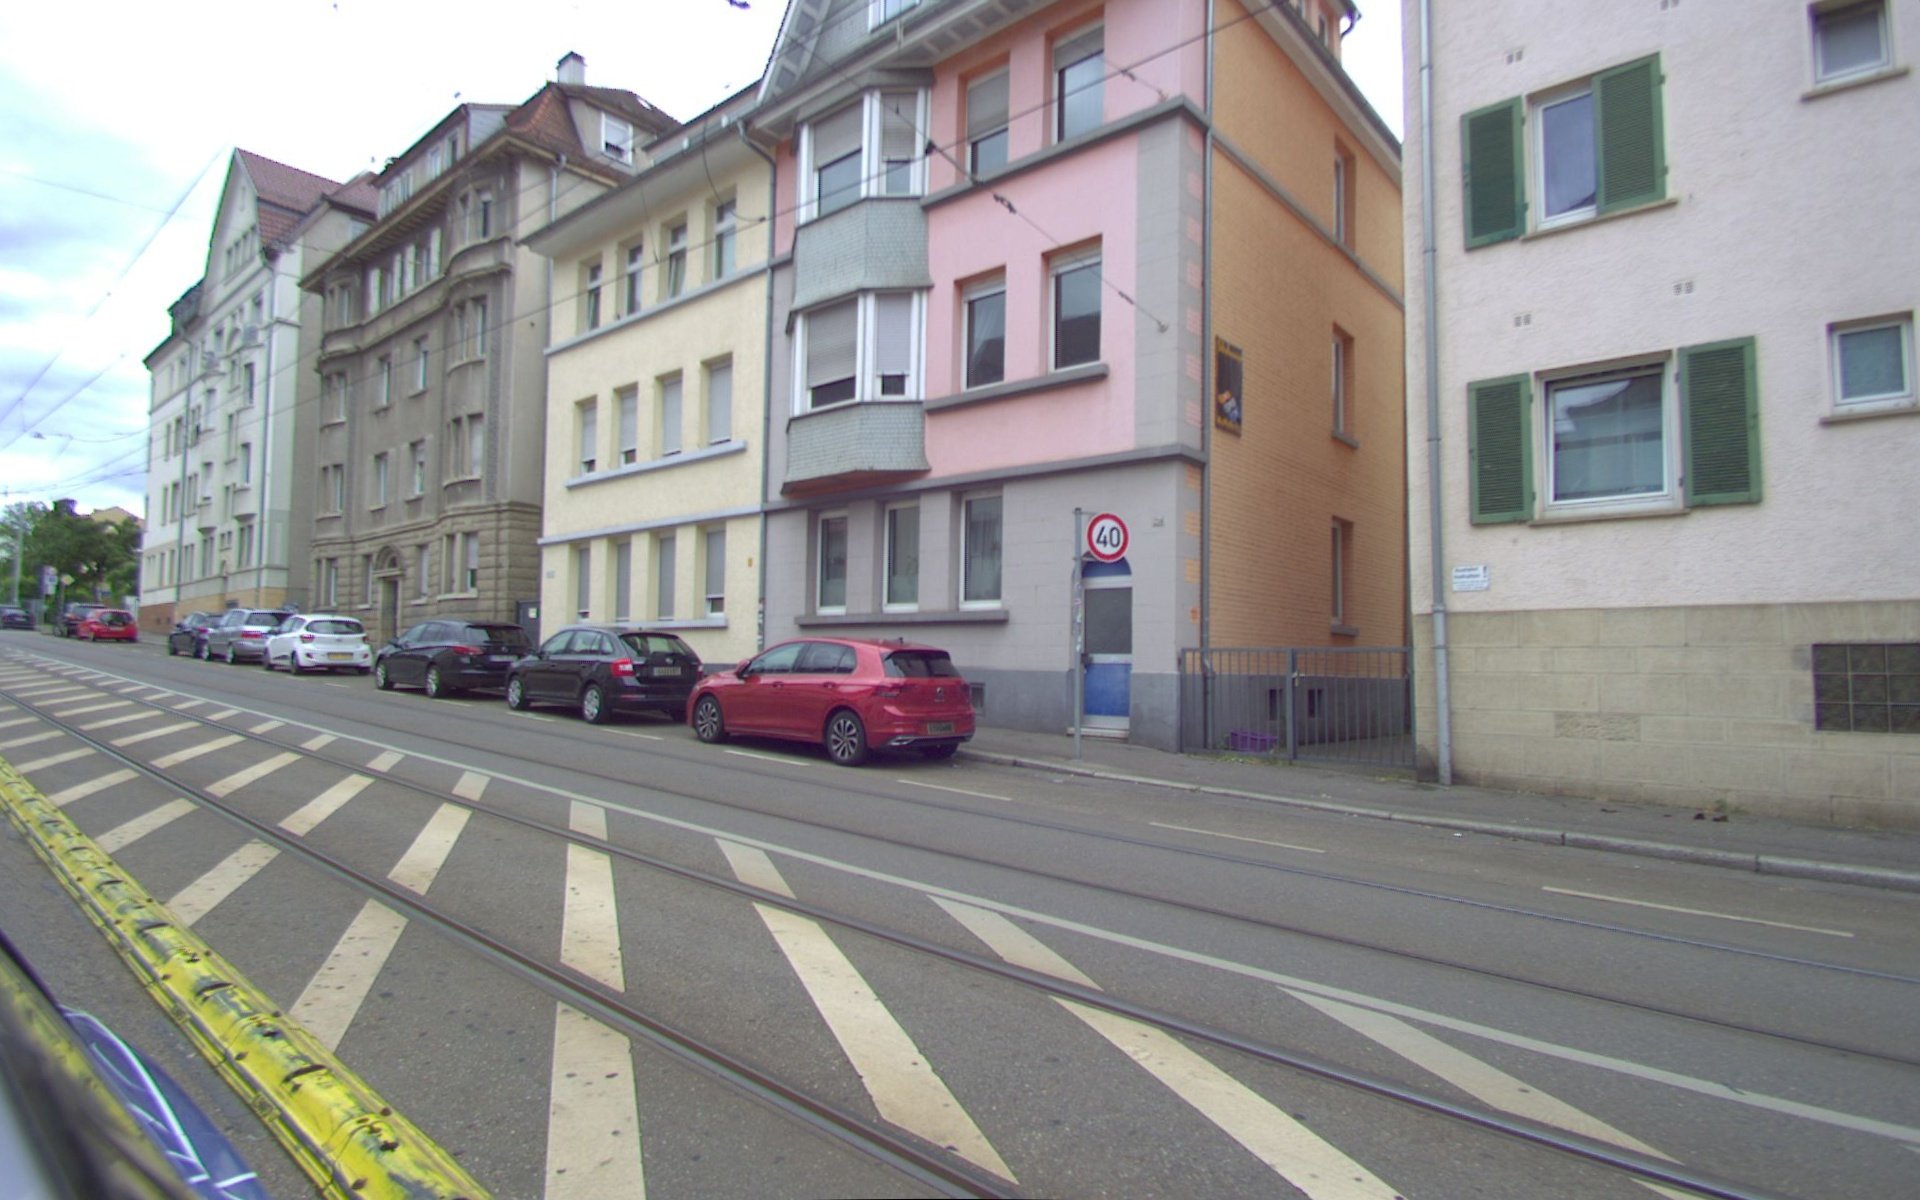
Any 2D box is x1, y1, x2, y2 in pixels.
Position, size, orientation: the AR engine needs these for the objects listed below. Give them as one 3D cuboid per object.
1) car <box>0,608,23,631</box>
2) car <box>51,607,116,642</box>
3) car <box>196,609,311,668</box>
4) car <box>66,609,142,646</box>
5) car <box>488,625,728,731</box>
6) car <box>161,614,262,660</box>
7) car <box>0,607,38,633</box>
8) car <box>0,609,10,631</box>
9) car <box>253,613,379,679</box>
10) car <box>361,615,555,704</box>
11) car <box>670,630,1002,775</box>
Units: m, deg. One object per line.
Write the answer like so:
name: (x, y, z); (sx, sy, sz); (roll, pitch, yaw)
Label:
car: (-66.165, 1.310, 69.864); (3.951, 1.537, 1.720); (0, -4, 42)
car: (-42.318, 1.162, 48.826); (3.949, 1.537, 1.721); (0, -4, 41)
car: (-20.721, 1.083, 29.622); (4.140, 1.579, 1.721); (0, -2, 41)
car: (-38.697, 1.224, 45.735); (3.946, 1.470, 1.722); (0, -4, 38)
car: (-5.777, 1.199, 16.373); (4.240, 1.421, 1.766); (0, -4, 42)
car: (-24.430, 1.185, 32.988); (4.042, 1.392, 1.721); (0, -2, 41)
car: (-61.484, 1.291, 65.801); (3.949, 1.537, 1.721); (0, -4, 41)
car: (-71.067, 1.409, 74.066); (3.949, 1.537, 1.721); (0, -4, 41)
car: (-16.576, 1.150, 25.992); (3.799, 1.522, 1.720); (0, -3, 42)
car: (-9.946, 1.132, 19.899); (4.525, 1.522, 1.766); (0, -4, 42)
car: (-1.689, 1.197, 12.828); (4.260, 1.449, 1.766); (0, -4, 42)
